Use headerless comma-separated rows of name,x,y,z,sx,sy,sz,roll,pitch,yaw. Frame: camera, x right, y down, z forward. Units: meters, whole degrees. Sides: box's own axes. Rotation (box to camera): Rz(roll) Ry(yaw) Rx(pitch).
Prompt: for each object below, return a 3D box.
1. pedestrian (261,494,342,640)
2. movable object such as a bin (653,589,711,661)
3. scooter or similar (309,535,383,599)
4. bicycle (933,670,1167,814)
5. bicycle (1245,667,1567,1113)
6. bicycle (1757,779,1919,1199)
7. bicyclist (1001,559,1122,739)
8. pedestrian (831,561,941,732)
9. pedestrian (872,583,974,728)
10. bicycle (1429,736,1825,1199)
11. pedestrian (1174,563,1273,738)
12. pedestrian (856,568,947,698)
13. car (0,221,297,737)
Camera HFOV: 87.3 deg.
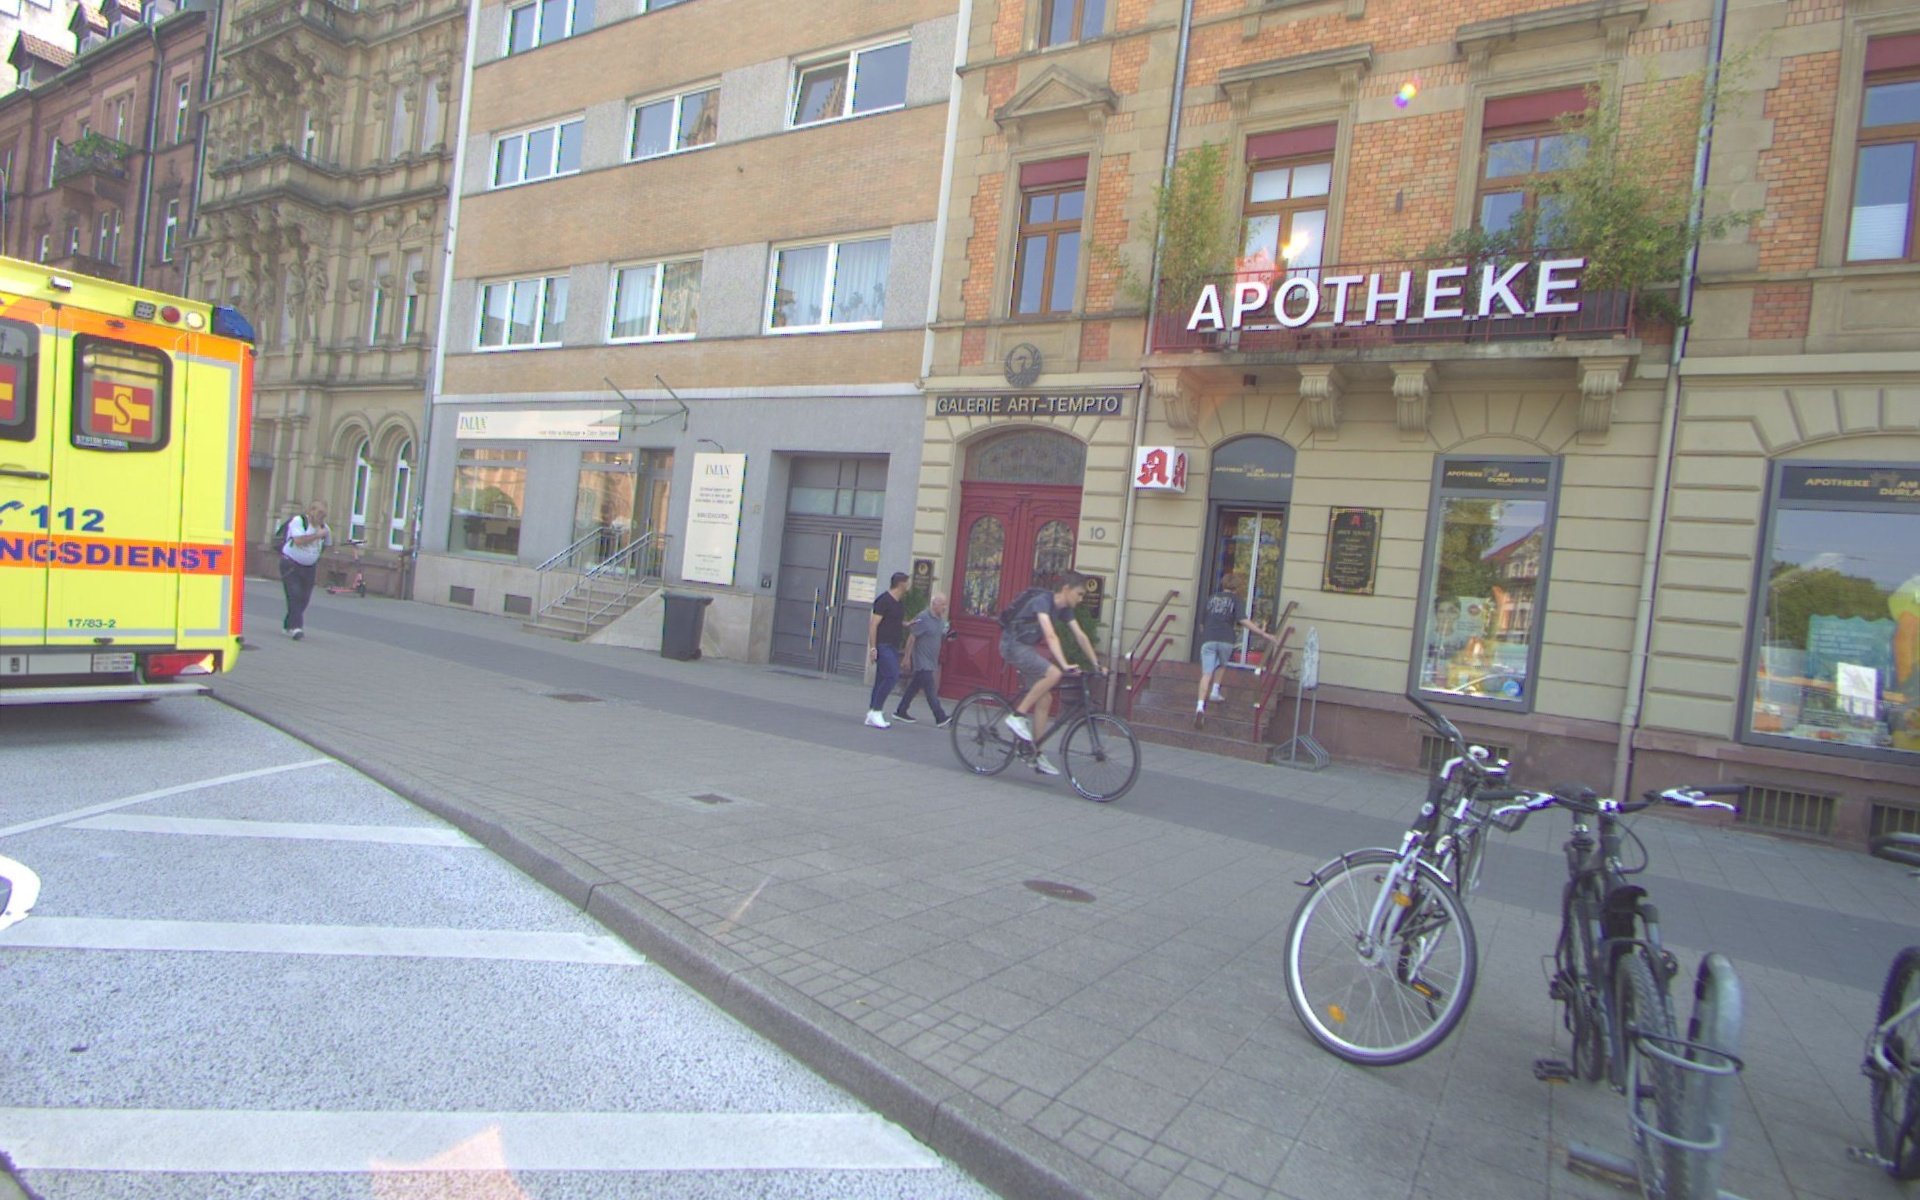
pedestrian,-8.081,-0.399,12.374,0.691,1.688,0.597,5,2,-32
movable object such as a bin,-4.445,0.394,16.127,0.752,1.061,0.646,6,1,-11
scooter or similar,-13.273,-0.709,21.757,1.279,1.211,0.514,6,1,13
bicycle,0.703,1.097,8.120,1.746,0.866,0.589,5,1,31
bicycle,1.758,0.933,3.796,0.634,1.230,1.674,7,0,37
bicycle,2.623,1.115,2.561,0.633,1.085,1.660,7,-1,32
bicyclist,0.828,0.393,8.135,0.572,1.338,0.753,7,1,32
pedestrian,-0.786,0.490,10.764,0.776,1.706,0.644,7,1,32
pedestrian,-0.417,0.620,11.351,0.776,1.512,0.644,7,1,32
bicycle,1.977,1.011,2.960,0.634,1.085,1.776,7,-1,37
pedestrian,3.042,0.567,11.575,0.828,1.870,0.685,6,2,23
pedestrian,-0.841,0.467,14.551,0.814,1.760,0.877,7,3,32
car,-7.553,-0.913,7.561,5.511,2.926,2.298,7,2,35
